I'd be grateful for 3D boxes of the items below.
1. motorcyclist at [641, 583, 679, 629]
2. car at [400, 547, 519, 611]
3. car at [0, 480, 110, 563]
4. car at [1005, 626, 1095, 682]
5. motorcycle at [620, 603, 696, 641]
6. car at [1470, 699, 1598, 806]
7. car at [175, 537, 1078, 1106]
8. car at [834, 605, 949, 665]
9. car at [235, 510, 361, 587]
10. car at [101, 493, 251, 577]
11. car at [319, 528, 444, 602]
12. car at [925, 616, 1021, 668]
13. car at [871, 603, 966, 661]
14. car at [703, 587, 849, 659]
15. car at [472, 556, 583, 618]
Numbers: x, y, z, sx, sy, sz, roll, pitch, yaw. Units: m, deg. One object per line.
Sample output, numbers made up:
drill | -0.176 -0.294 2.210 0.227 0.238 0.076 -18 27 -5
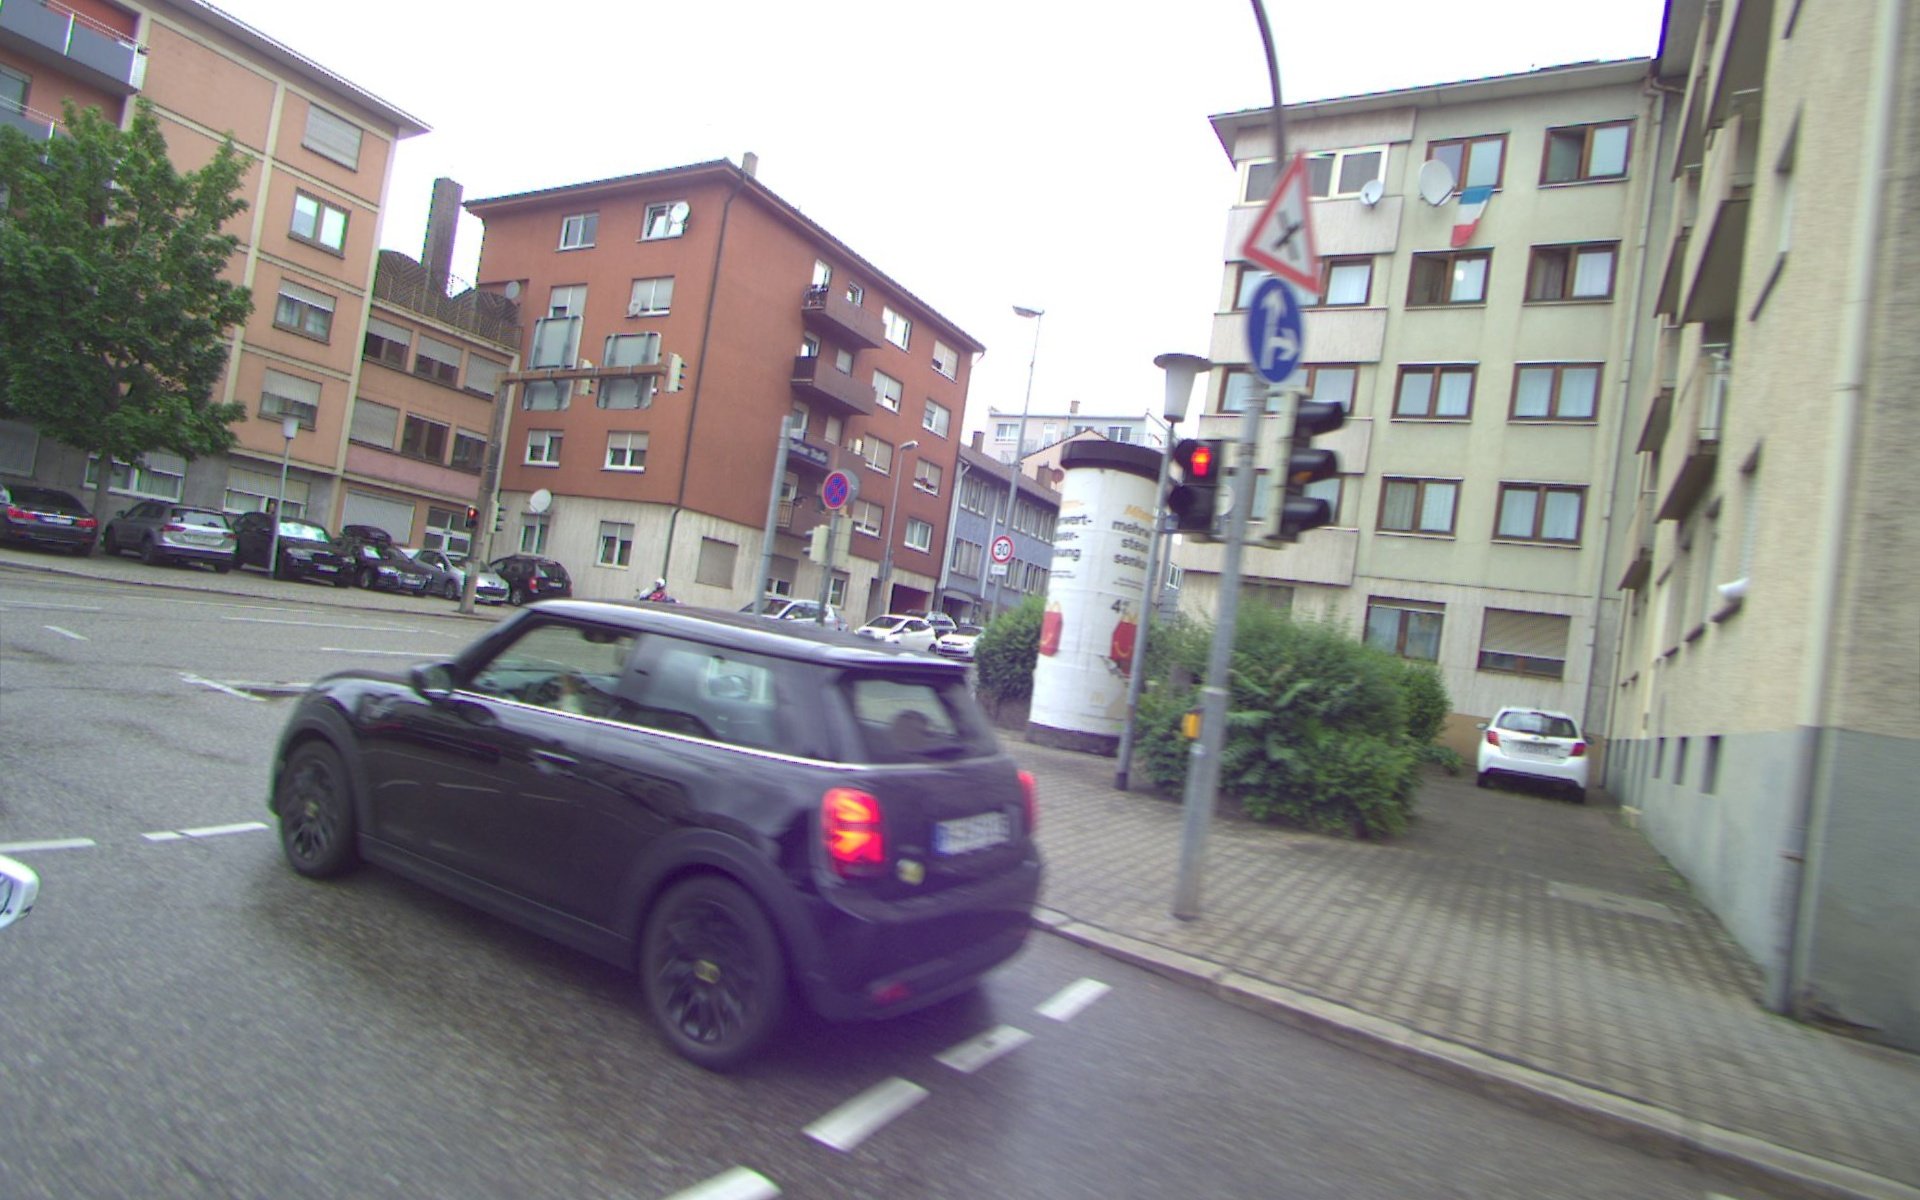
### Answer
motorcyclist | -8.663 0.174 29.044 0.642 1.239 0.658 7 0 24
car | -16.373 -0.714 32.876 3.939 1.598 1.672 5 -5 36
car | -22.682 -1.989 24.352 4.718 1.572 1.847 7 -2 33
car | 4.145 2.502 45.654 1.912 1.936 4.851 6 -4 32
motorcycle | -8.702 0.657 29.108 0.626 0.938 2.364 6 -1 24
car | 10.350 2.674 18.277 1.736 1.492 3.321 6 -1 29
car | -1.686 0.642 4.667 4.004 1.438 1.663 6 -1 31
car | -2.245 1.229 33.961 1.819 1.572 3.995 7 -2 31
car | -18.863 -1.499 28.594 3.946 1.739 1.984 6 -2 43
car | -20.670 -1.735 26.503 3.938 1.679 1.988 7 -2 36
car | -17.805 -1.082 30.918 3.940 1.716 1.796 7 -3 38
car | 0.552 1.686 39.337 1.819 1.572 3.994 7 -2 32
car | -1.604 1.316 40.339 1.764 1.745 4.001 6 -5 30
car | -5.205 0.702 28.920 1.810 1.572 3.994 7 -2 31
car | -15.296 -0.476 35.484 3.948 1.723 1.993 4 -5 43
